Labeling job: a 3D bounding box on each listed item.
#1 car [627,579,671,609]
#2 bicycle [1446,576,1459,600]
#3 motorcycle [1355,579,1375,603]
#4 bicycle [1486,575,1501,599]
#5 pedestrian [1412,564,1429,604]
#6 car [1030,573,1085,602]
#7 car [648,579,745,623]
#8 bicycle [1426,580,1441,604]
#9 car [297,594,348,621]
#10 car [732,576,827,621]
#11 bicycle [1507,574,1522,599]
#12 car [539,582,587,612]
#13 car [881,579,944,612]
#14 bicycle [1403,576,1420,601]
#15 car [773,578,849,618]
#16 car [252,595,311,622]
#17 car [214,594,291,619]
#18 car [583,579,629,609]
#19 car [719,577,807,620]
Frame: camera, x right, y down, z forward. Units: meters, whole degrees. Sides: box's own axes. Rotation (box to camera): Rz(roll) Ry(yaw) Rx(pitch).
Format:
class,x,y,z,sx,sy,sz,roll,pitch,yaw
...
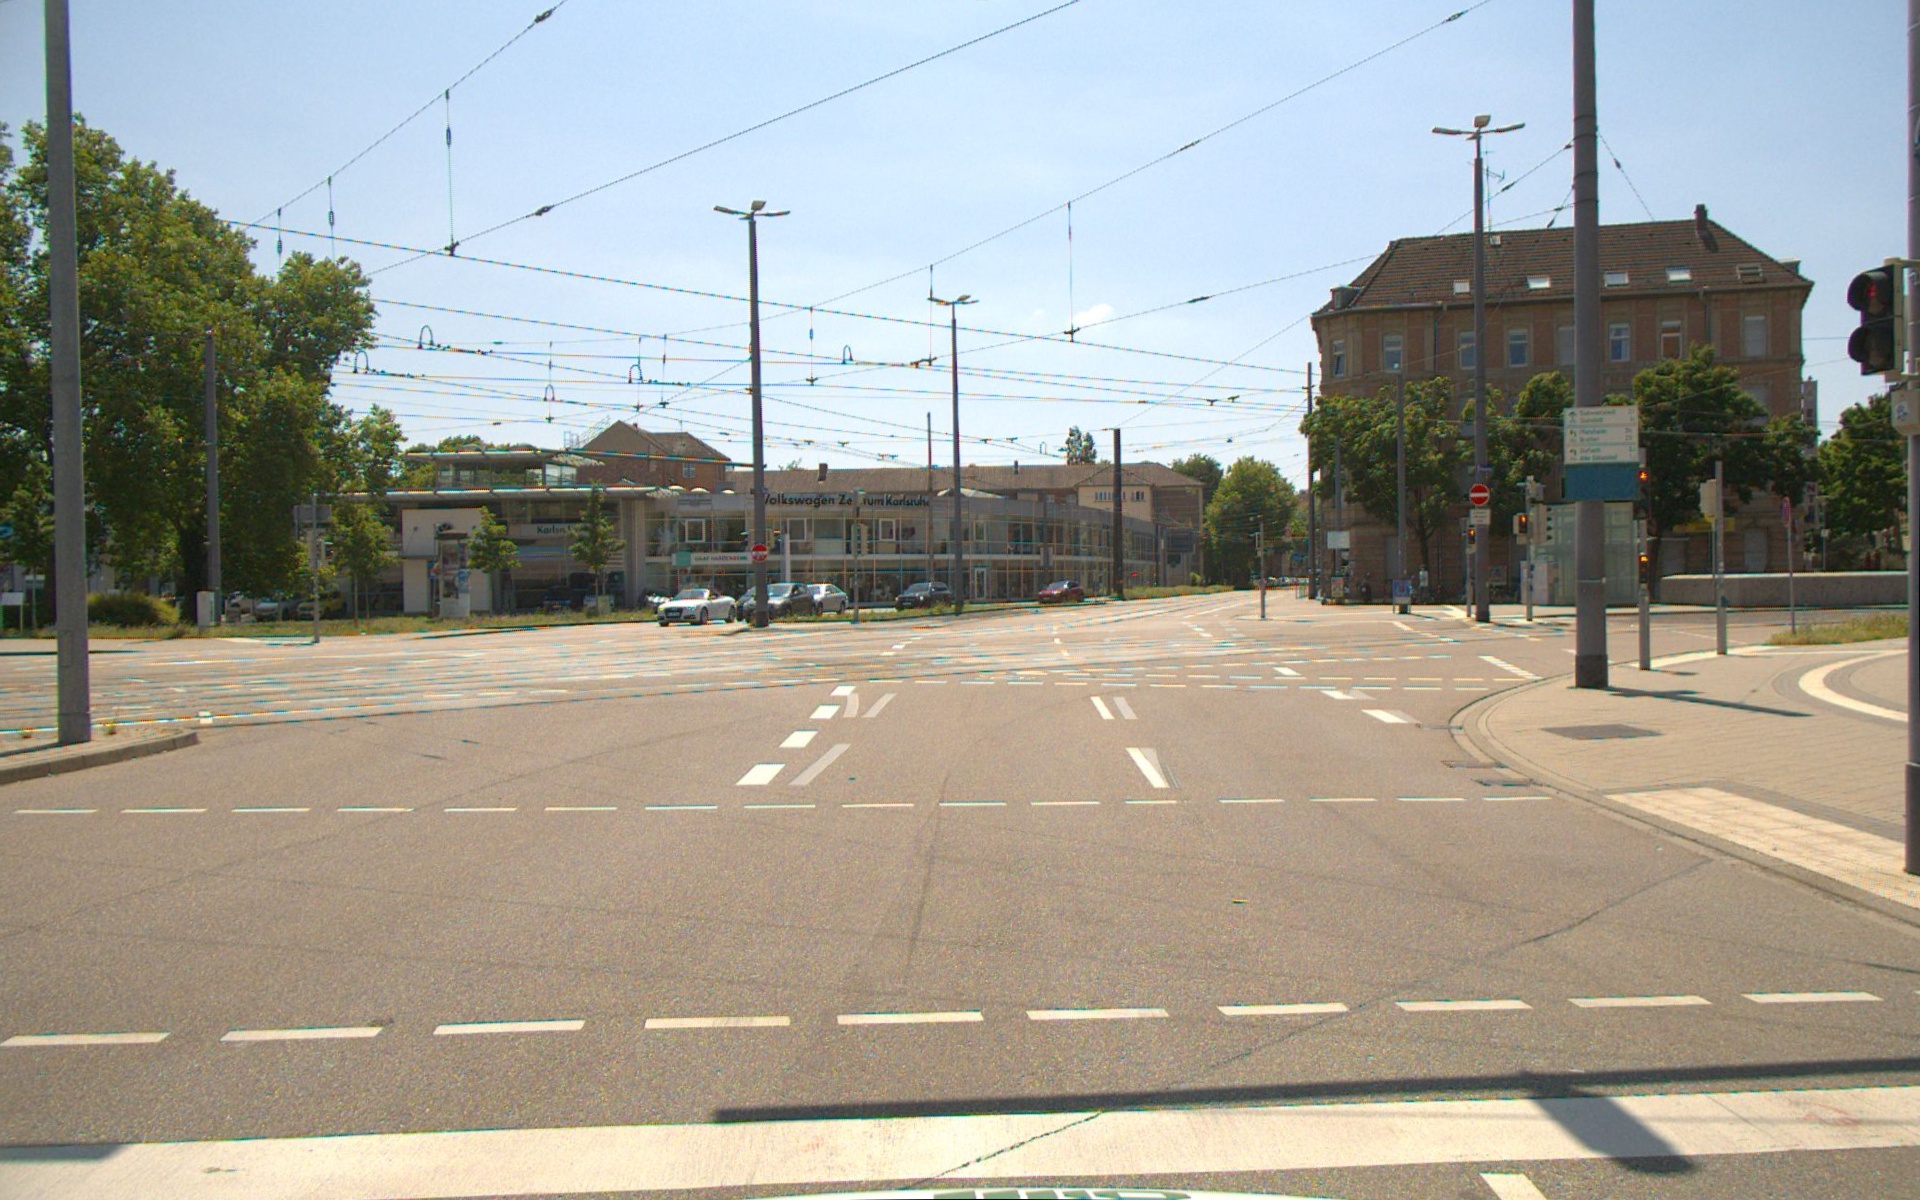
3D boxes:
class,x,y,z,sx,sy,sz,roll,pitch,yaw
car,-18.732,-0.320,99.885,1.881,1.737,4.000,1,0,0
bicycle,23.466,-0.564,78.840,0.539,1.139,1.822,-1,0,15
motorcycle,19.417,-0.440,79.408,0.568,1.093,1.947,-1,0,3
bicycle,25.553,-0.626,79.231,0.539,1.139,1.872,-1,0,15
pedestrian,19.932,-0.702,71.635,0.453,1.738,0.638,-1,0,-12
car,6.445,-0.838,108.942,1.957,1.807,3.991,1,0,31
car,-10.158,0.024,64.101,2.032,1.607,4.850,-1,1,13
bicycle,22.669,-0.385,79.171,0.539,1.139,1.822,-1,0,13
car,-38.781,0.446,100.686,1.732,1.536,4.322,-1,1,-5
car,-6.977,-0.089,64.461,1.951,1.666,4.850,-1,1,16
bicycle,26.520,-0.644,79.127,0.539,1.139,1.931,-1,0,15
car,-23.874,-0.170,99.658,1.881,1.737,4.000,1,0,0
car,-2.561,-0.280,90.265,2.034,1.712,4.850,-1,1,16
bicycle,21.826,-0.532,79.915,0.433,1.166,2.095,1,0,6
car,-6.815,-0.109,76.234,1.951,1.770,4.546,-1,1,16
car,-41.449,0.491,101.129,1.731,1.536,4.327,-1,1,0
car,-45.528,0.416,106.465,4.279,1.536,1.750,-1,1,-36
car,-21.346,-0.326,99.781,1.881,1.737,4.000,1,0,0
car,-8.319,-0.080,70.268,1.951,1.730,4.850,-1,1,16
